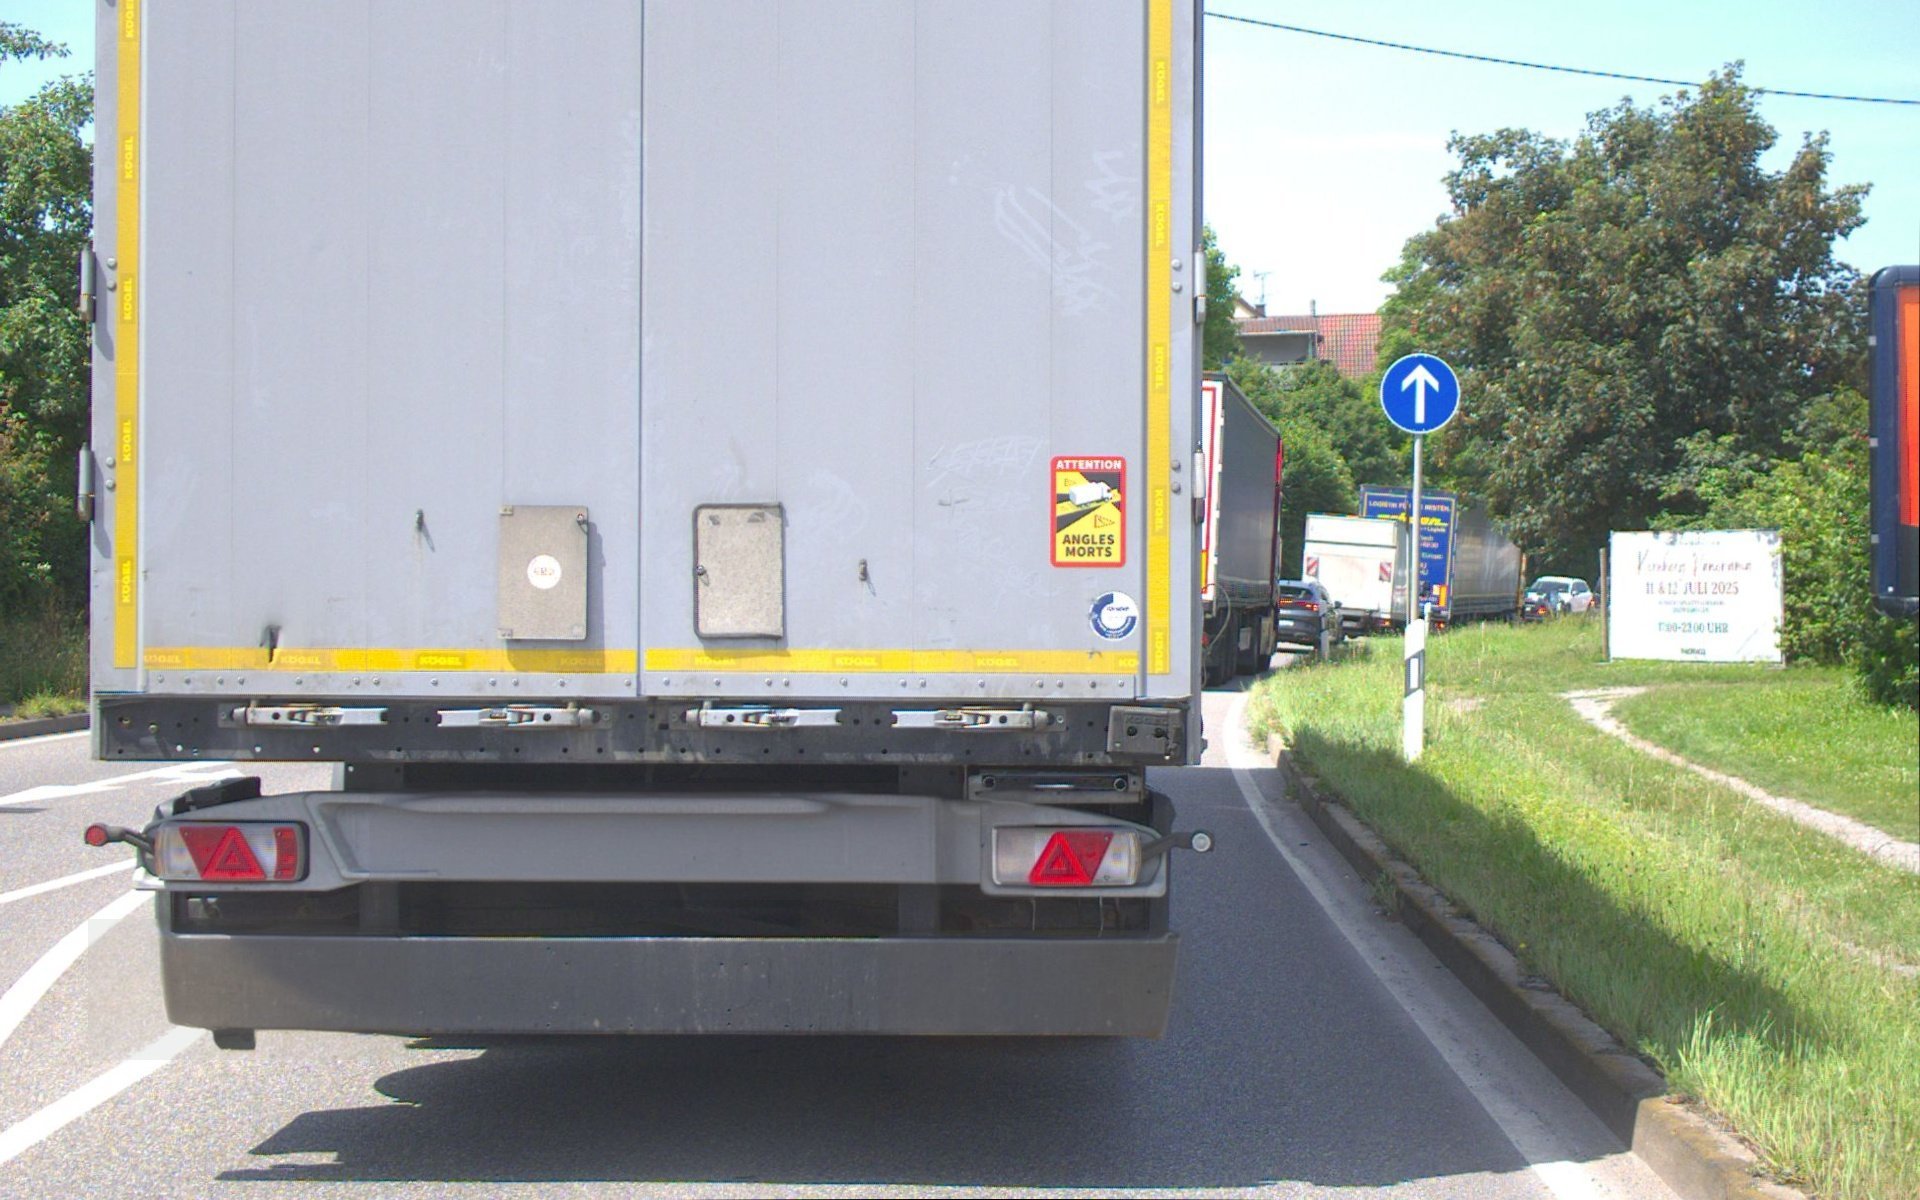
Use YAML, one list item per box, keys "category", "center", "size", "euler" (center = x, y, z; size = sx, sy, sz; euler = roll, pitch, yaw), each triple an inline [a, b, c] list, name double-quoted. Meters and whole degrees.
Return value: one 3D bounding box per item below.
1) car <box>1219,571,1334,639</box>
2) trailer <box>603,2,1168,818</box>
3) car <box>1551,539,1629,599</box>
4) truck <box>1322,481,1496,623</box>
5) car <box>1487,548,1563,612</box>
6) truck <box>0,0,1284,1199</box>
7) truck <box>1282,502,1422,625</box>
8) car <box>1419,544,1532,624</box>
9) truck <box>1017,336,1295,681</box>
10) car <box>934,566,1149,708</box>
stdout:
- category: "car"
  center: [6.753, 0.098, 73.109]
  size: [1.994, 1.371, 3.998]
  euler: [1, 0, 11]
- category: "trailer"
  center: [-0.281, -1.023, 20.601]
  size: [2.825, 4.097, 6.544]
  euler: [0, 1, 2]
- category: "car"
  center: [21.840, -1.065, 119.078]
  size: [1.995, 2.007, 3.996]
  euler: [1, 0, 20]
- category: "truck"
  center: [12.240, -1.340, 92.974]
  size: [3.435, 3.592, 9.347]
  euler: [1, 1, 15]
- category: "car"
  center: [18.233, -0.631, 110.774]
  size: [1.995, 2.007, 3.997]
  euler: [1, 0, 15]
- category: "truck"
  center: [-0.531, -0.870, 13.209]
  size: [2.822, 4.113, 11.443]
  euler: [1, 1, 2]
- category: "truck"
  center: [9.431, -0.842, 82.259]
  size: [2.545, 2.793, 6.028]
  euler: [1, 0, 14]
- category: "car"
  center: [15.301, -0.510, 101.704]
  size: [2.533, 2.269, 6.376]
  euler: [1, 1, 15]
- category: "truck"
  center: [3.235, -1.160, 51.124]
  size: [2.761, 4.274, 16.410]
  euler: [1, 0, 8]
- category: "car"
  center: [0.895, 0.354, 35.315]
  size: [1.819, 1.342, 3.846]
  euler: [1, 0, 7]
